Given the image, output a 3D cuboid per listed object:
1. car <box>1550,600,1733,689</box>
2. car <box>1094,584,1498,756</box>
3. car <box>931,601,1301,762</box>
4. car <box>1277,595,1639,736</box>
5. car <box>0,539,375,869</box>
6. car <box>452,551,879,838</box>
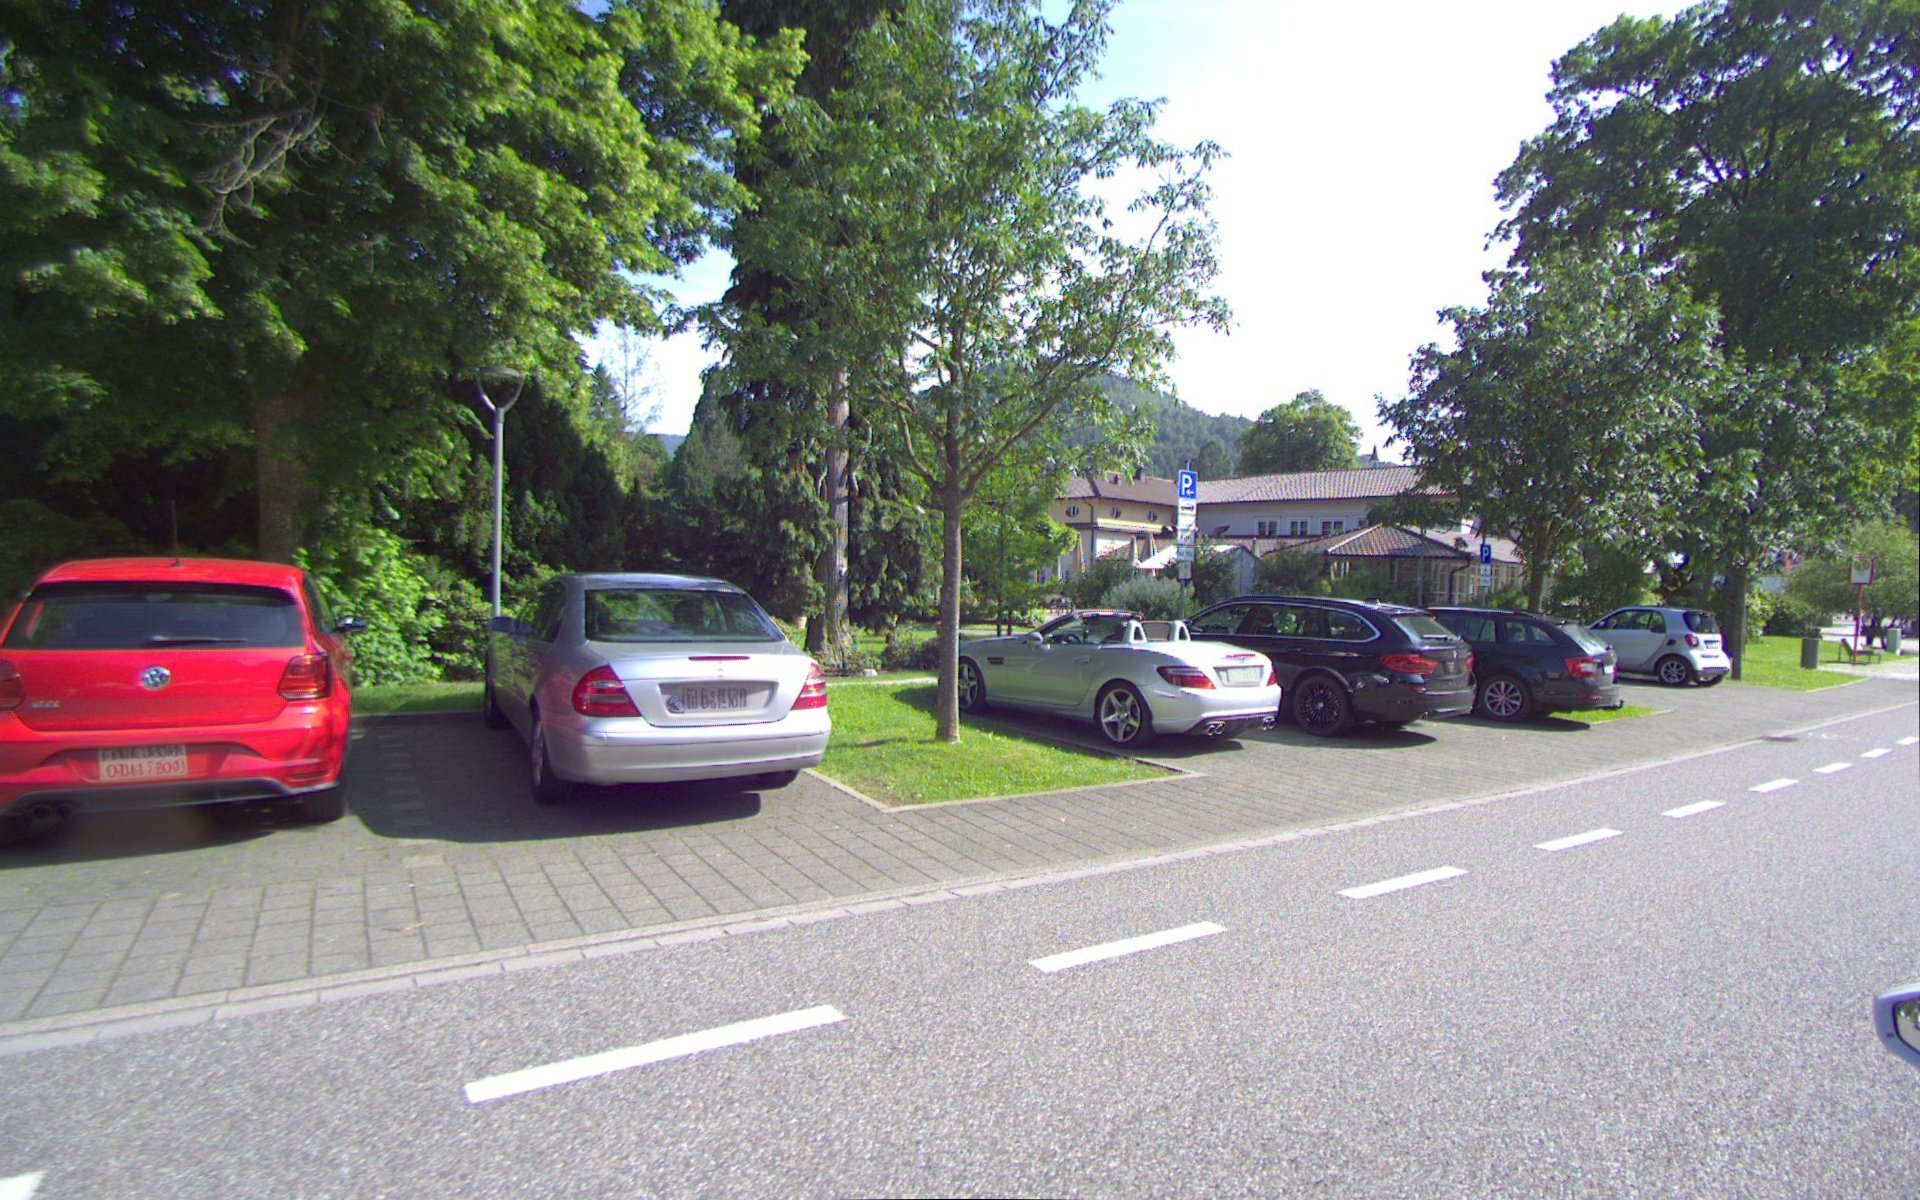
[{"bbox_3d":[14.150,0.881,20.939,1.664,1.567,2.636,2,3,-32],"label":"car"},{"bbox_3d":[3.872,0.681,12.318,1.698,1.530,4.457,1,3,-38],"label":"car"},{"bbox_3d":[1.527,0.740,10.938,1.747,1.259,3.763,2,2,-38],"label":"car"},{"bbox_3d":[6.912,0.795,14.287,1.701,1.451,4.233,1,3,-44],"label":"car"},{"bbox_3d":[-4.879,0.401,6.579,1.701,1.452,3.965,2,3,-32],"label":"car"},{"bbox_3d":[-2.564,0.454,7.782,1.792,1.436,4.451,2,3,-35],"label":"car"}]
